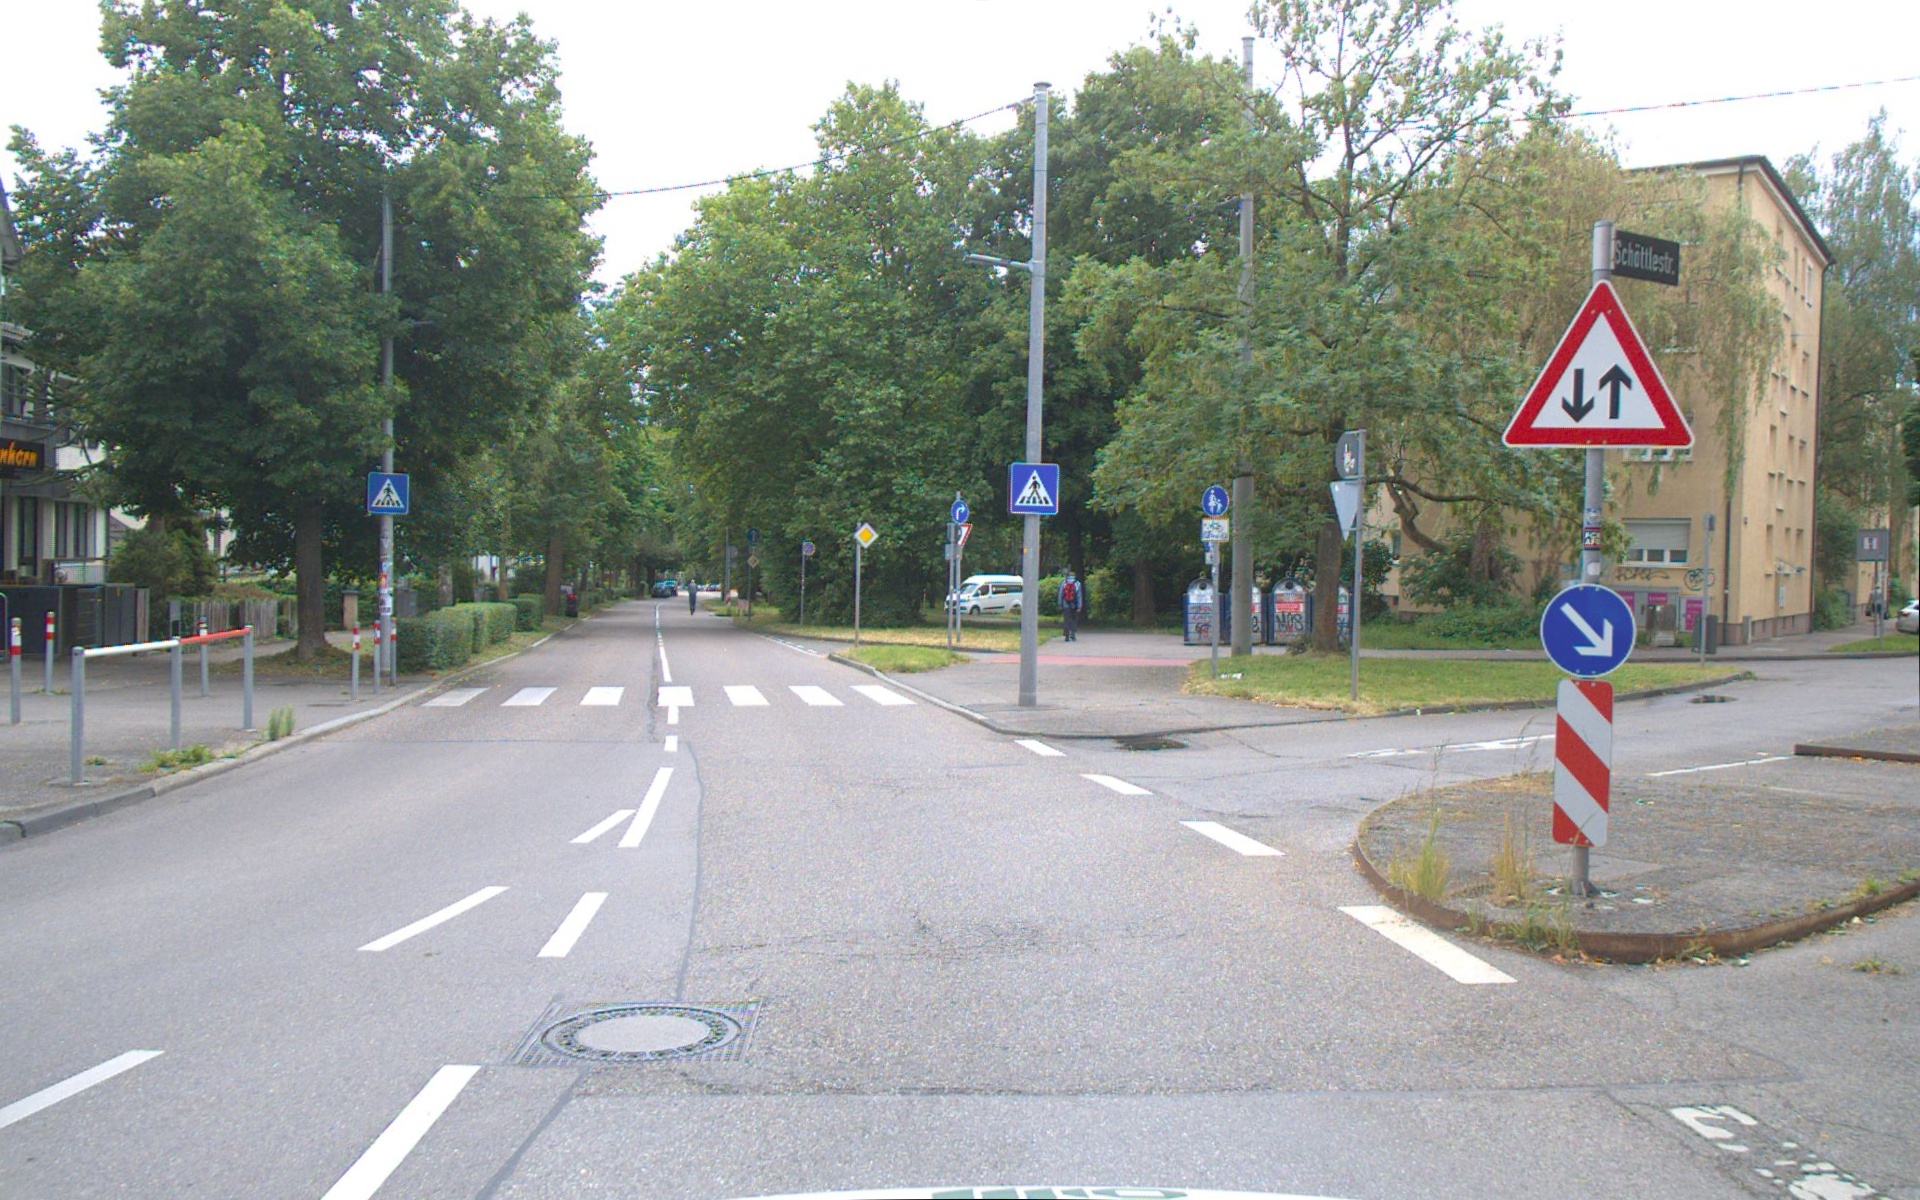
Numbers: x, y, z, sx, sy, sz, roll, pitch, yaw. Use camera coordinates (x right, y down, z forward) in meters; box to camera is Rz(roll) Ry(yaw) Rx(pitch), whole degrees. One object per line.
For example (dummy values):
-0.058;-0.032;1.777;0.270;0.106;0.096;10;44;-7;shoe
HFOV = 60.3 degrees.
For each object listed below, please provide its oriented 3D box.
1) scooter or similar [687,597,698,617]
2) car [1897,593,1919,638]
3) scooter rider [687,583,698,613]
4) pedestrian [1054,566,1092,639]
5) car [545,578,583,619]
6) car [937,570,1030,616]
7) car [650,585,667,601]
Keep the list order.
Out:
-14.665;0.361;90.738;0.589;1.073;0.871;0;2;-8;scooter or similar
35.776;0.514;58.872;4.120;1.604;1.812;-2;-2;33;car
-14.689;-0.110;90.877;0.589;1.579;0.565;0;2;-8;scooter rider
3.080;0.058;45.065;0.904;1.903;1.020;-3;3;2;pedestrian
-19.011;-0.089;79.295;1.615;1.754;3.786;3;1;-14;car
1.359;-0.389;93.987;2.102;2.337;5.348;5;2;44;car
-33.908;-0.802;185.772;1.801;1.524;3.647;3;2;-11;car
